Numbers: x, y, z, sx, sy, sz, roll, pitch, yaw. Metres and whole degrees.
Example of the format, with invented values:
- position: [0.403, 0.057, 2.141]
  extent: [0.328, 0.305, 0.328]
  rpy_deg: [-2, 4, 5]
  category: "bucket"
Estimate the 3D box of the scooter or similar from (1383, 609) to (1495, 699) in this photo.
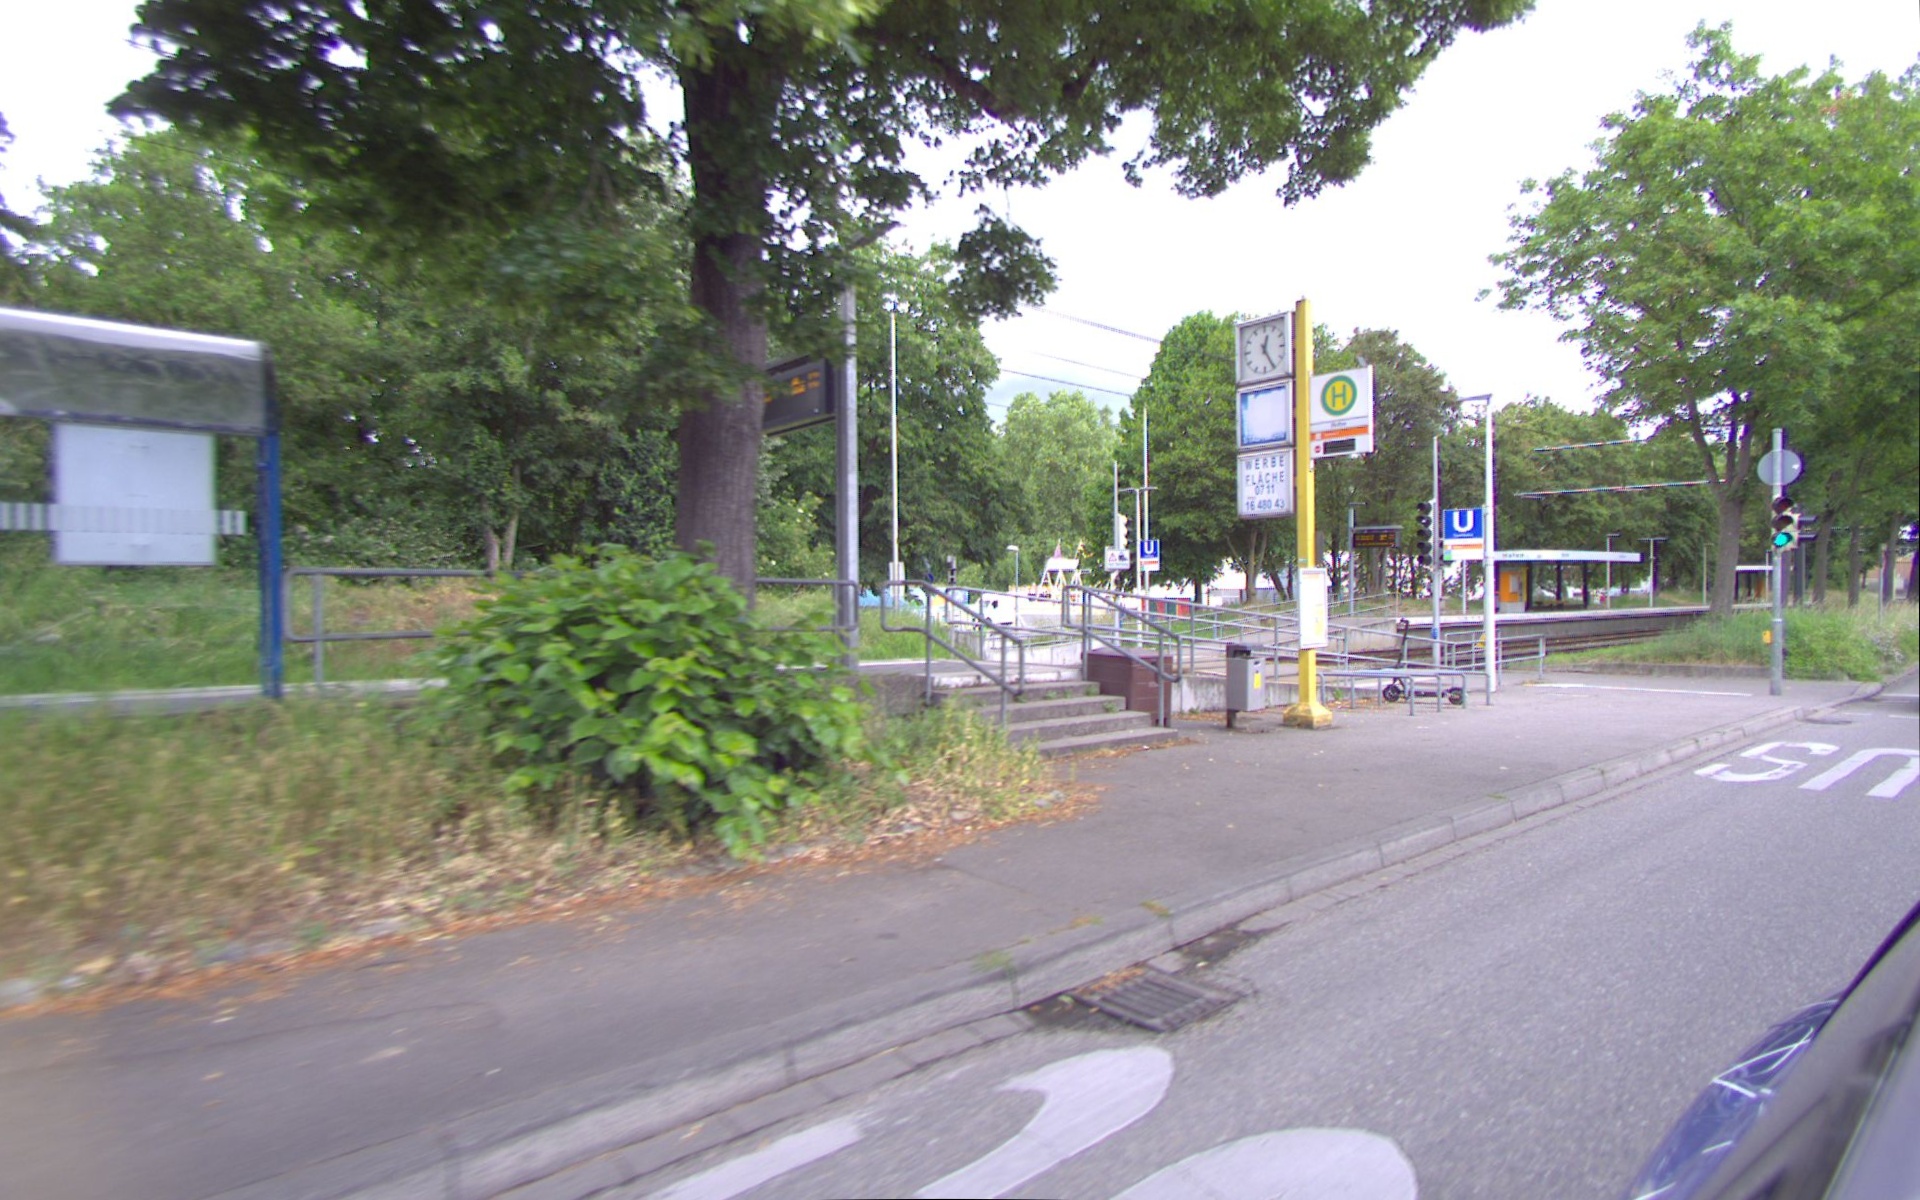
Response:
- position: [6.989, 0.769, 14.781]
  extent: [1.445, 1.258, 0.480]
  rpy_deg: [-1, -1, 29]
  category: "scooter or similar"

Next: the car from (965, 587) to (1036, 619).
- position: [3.213, 0.206, 79.141]
  extent: [5.705, 2.414, 1.997]
  rpy_deg: [0, 0, -41]
  category: "car"
